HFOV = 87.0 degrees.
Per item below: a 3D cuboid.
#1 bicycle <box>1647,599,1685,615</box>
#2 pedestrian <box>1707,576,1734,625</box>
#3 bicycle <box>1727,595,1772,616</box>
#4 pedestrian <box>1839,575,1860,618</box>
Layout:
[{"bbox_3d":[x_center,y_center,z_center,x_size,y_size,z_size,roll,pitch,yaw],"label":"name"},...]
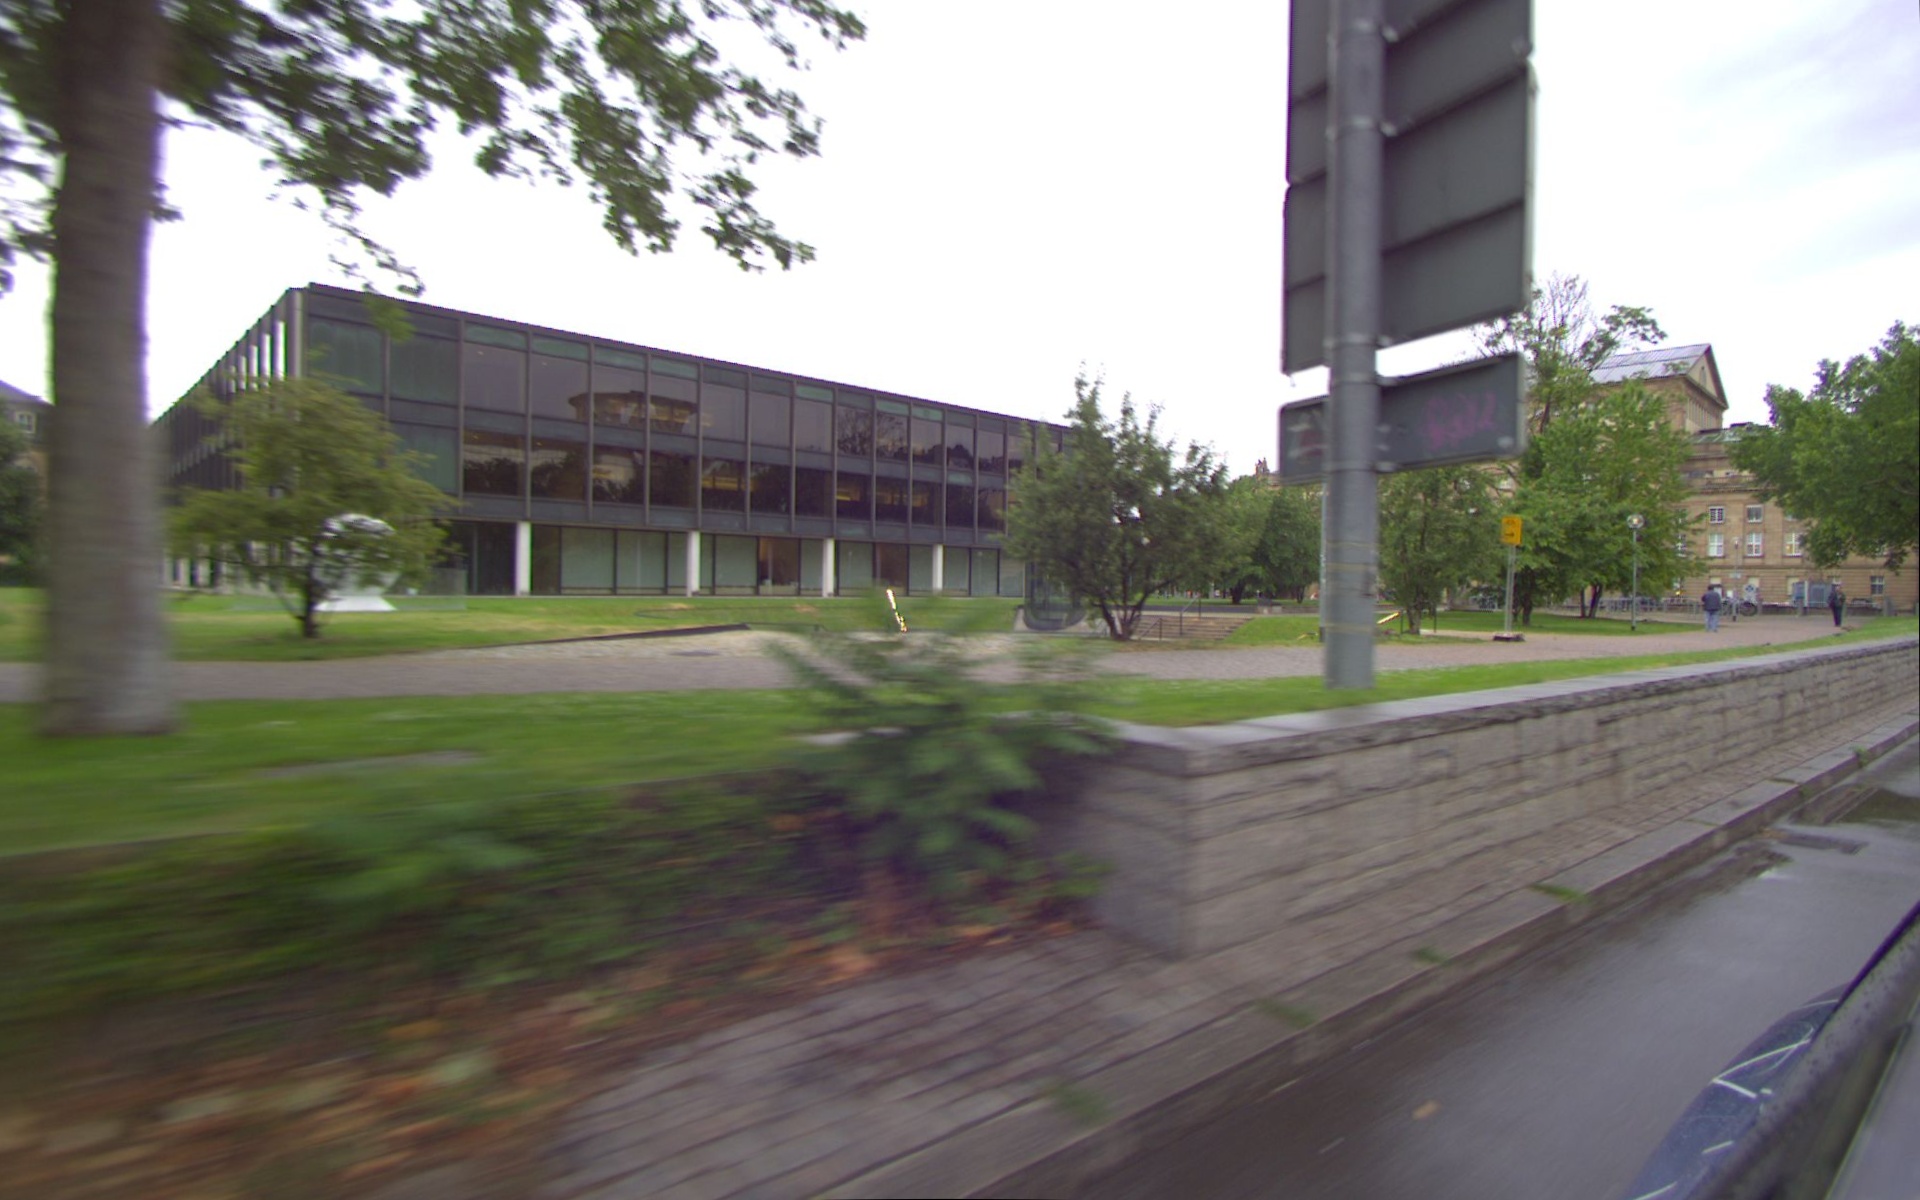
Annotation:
[{"bbox_3d":[37.438,0.383,53.698,1.611,0.806,0.505,1,0,29],"label":"bicycle"},{"bbox_3d":[26.831,0.019,35.697,0.665,1.686,0.582,1,1,32],"label":"pedestrian"},{"bbox_3d":[41.931,0.300,53.762,1.740,1.079,0.820,-1,0,29],"label":"bicycle"},{"bbox_3d":[37.530,-0.128,42.708,0.577,1.796,0.594,0,-1,-42],"label":"pedestrian"}]
